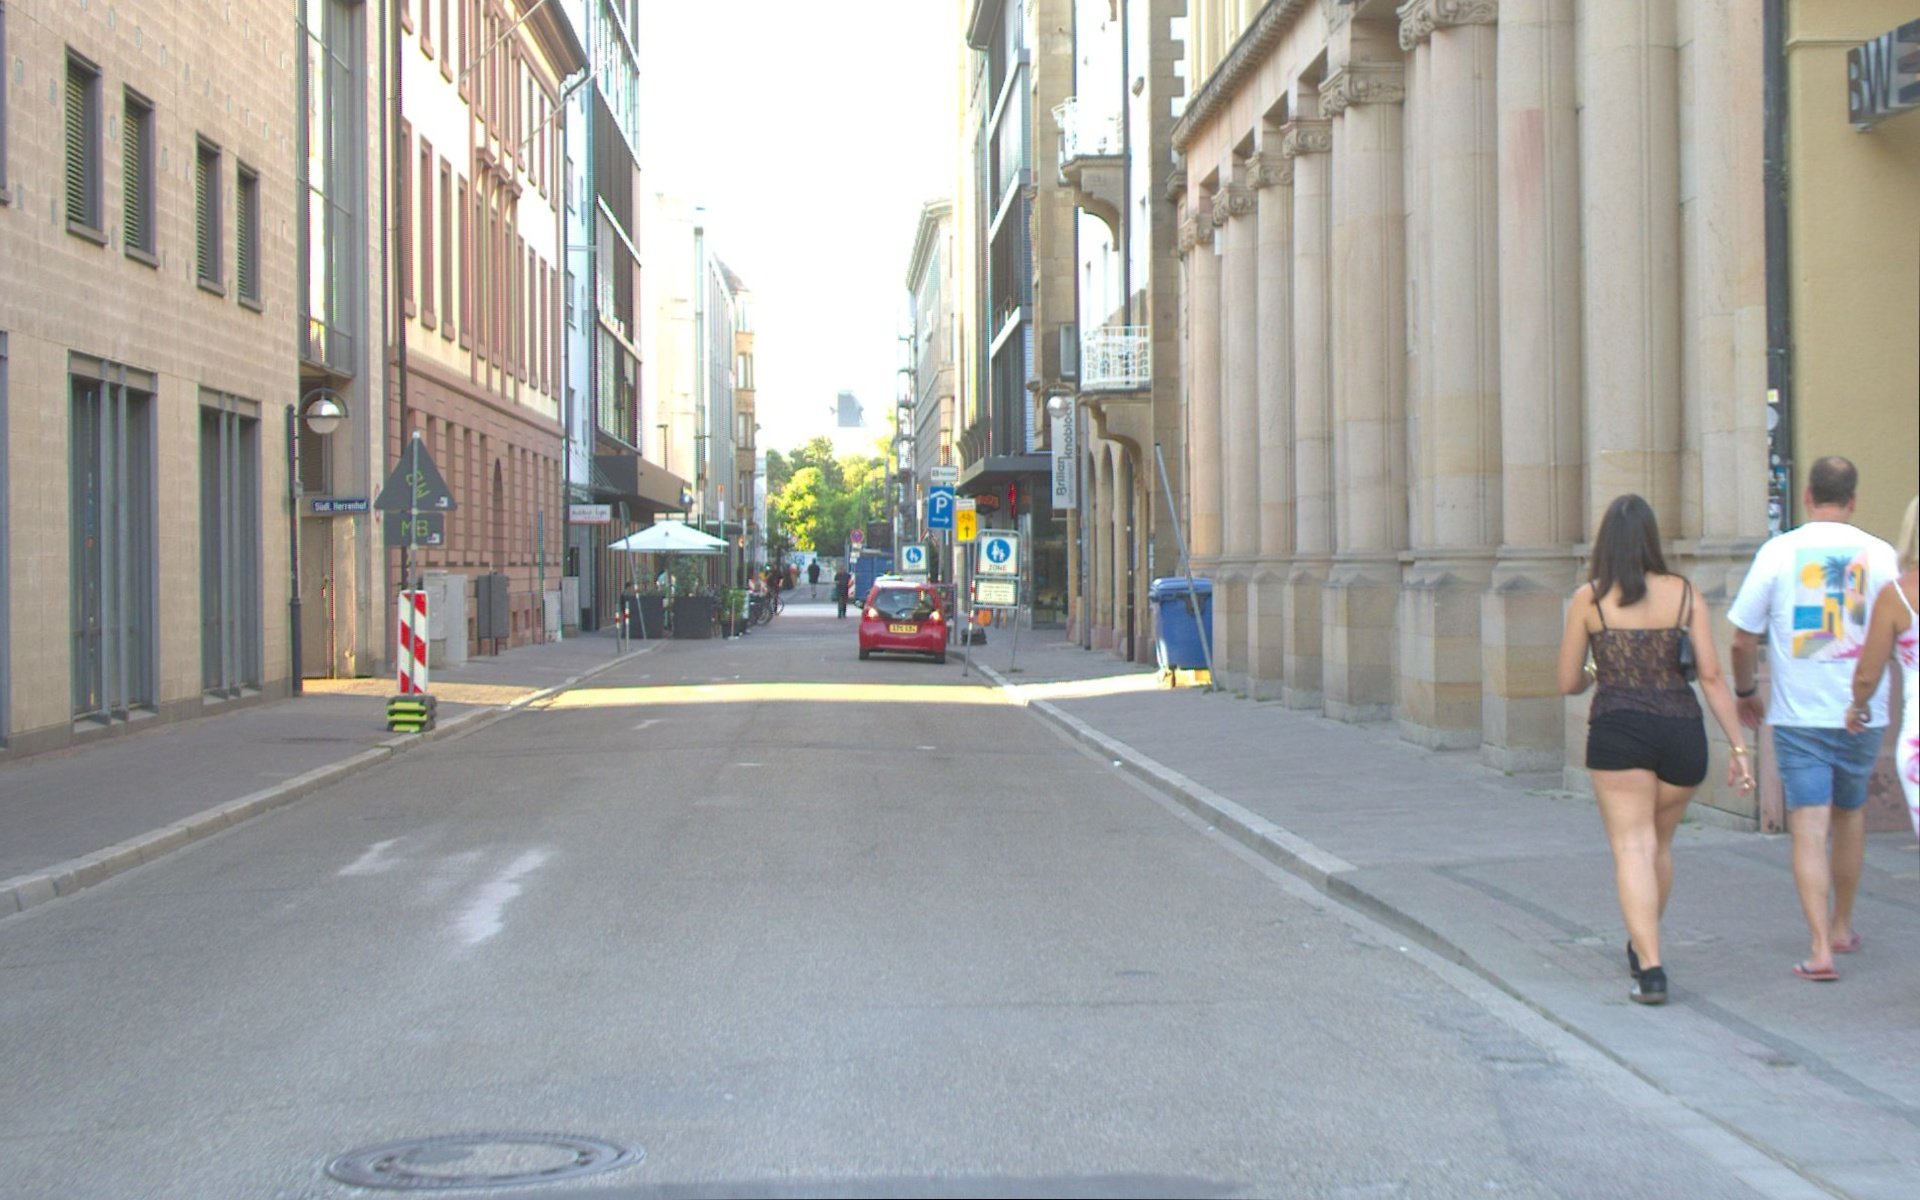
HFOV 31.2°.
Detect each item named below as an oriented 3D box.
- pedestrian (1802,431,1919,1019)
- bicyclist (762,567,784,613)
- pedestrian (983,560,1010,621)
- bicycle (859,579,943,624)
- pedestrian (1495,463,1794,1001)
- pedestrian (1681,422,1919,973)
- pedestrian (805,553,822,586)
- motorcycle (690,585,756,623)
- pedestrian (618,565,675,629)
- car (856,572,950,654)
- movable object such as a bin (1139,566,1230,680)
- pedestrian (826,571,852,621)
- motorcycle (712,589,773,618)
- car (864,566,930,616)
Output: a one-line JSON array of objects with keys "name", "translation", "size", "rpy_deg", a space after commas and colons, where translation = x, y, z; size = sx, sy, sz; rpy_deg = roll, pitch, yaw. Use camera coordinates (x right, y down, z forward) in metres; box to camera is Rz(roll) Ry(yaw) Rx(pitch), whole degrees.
[{"name": "pedestrian", "translation": [3.117, 0.375, 10.928], "size": [0.636, 1.797, 0.772], "rpy_deg": [-1, 0, -3]}, {"name": "bicyclist", "translation": [-6.578, -0.356, 121.159], "size": [0.636, 1.635, 0.772], "rpy_deg": [-1, 1, -11]}, {"name": "pedestrian", "translation": [0.902, -0.235, 85.228], "size": [0.656, 1.482, 0.493], "rpy_deg": [-1, 0, 0]}, {"name": "bicycle", "translation": [-1.477, 0.034, 85.858], "size": [2.052, 1.130, 0.649], "rpy_deg": [0, 0, -5]}, {"name": "pedestrian", "translation": [2.301, 0.425, 11.639], "size": [0.775, 1.740, 0.875], "rpy_deg": [-1, 0, -3]}, {"name": "pedestrian", "translation": [3.083, 0.327, 12.172], "size": [0.812, 1.869, 0.875], "rpy_deg": [-1, 0, -3]}, {"name": "pedestrian", "translation": [-7.483, -1.570, 176.006], "size": [0.804, 1.667, 0.888], "rpy_deg": [-1, 1, 0]}, {"name": "motorcycle", "translation": [-6.594, 0.117, 95.559], "size": [1.801, 1.037, 0.494], "rpy_deg": [0, 0, -6]}, {"name": "pedestrian", "translation": [-7.266, -0.071, 79.697], "size": [1.290, 1.482, 0.661], "rpy_deg": [0, 0, -4]}, {"name": "car", "translation": [-1.070, 0.222, 64.001], "size": [1.649, 1.422, 3.536], "rpy_deg": [2, 0, -1]}, {"name": "movable object such as a bin", "translation": [2.812, 0.273, 43.206], "size": [0.990, 1.387, 1.241], "rpy_deg": [-1, 1, -3]}, {"name": "pedestrian", "translation": [-4.141, -0.133, 117.475], "size": [0.865, 1.707, 0.852], "rpy_deg": [0, 0, -2]}, {"name": "motorcycle", "translation": [-6.558, 0.111, 103.748], "size": [1.801, 0.872, 0.560], "rpy_deg": [0, 0, -6]}, {"name": "car", "translation": [-2.091, -0.317, 113.401], "size": [1.993, 1.605, 4.001], "rpy_deg": [0, 1, -3]}]
